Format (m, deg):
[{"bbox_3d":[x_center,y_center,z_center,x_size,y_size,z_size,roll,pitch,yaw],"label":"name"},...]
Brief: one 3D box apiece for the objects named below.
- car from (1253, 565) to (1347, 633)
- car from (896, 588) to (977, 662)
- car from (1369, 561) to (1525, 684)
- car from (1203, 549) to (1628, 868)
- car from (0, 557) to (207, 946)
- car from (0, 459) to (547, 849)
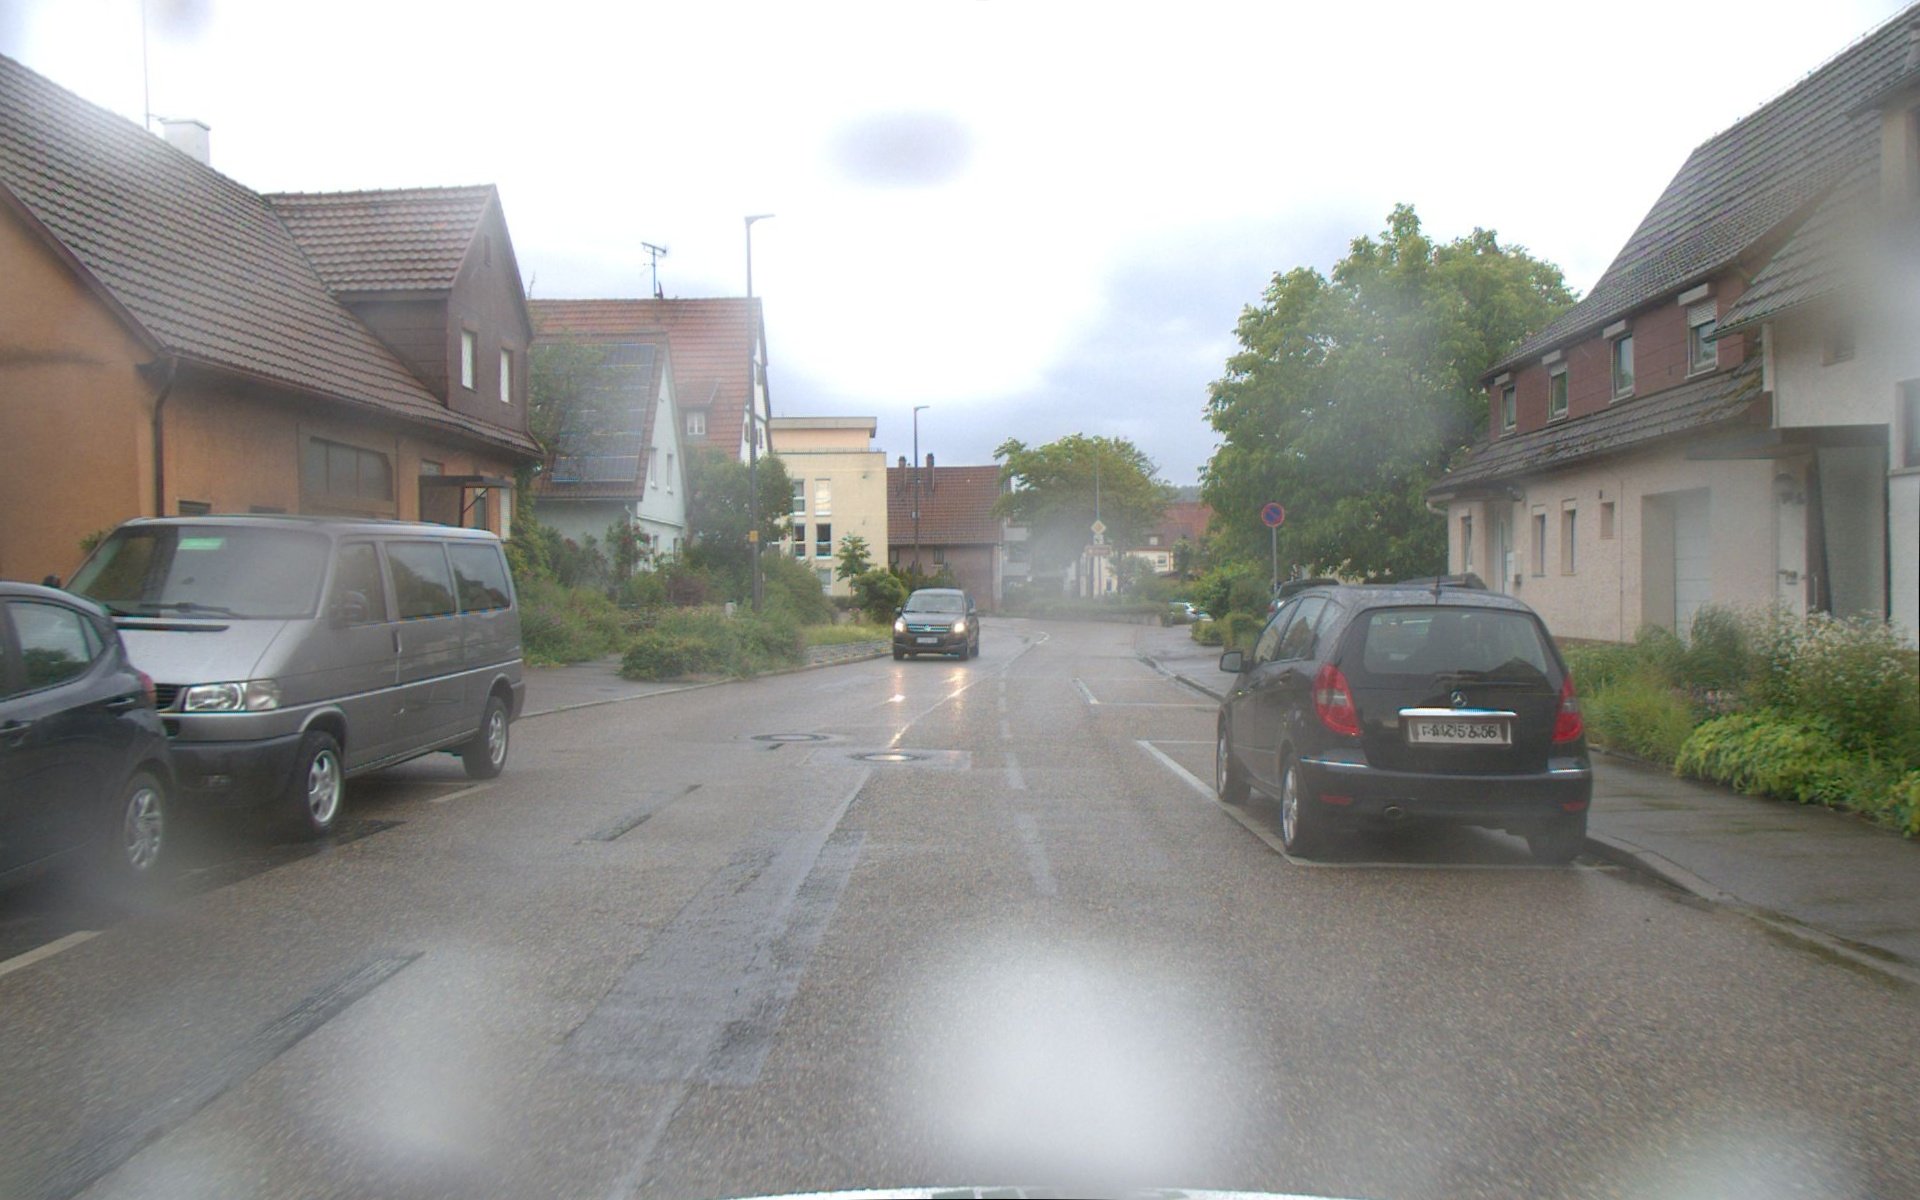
[{"bbox_3d":[7.665,-0.024,37.543,1.603,1.455,3.679,-1,0,4],"label":"car"},{"bbox_3d":[-0.518,0.564,39.527,1.760,1.669,4.001,0,0,1],"label":"car"},{"bbox_3d":[7.100,0.271,23.857,1.723,1.417,4.001,-7,-1,21],"label":"car"},{"bbox_3d":[2.818,0.598,11.167,1.714,1.740,3.999,-1,0,-1],"label":"car"},{"bbox_3d":[-4.545,0.602,6.614,1.547,1.523,3.565,-1,0,-3],"label":"car"},{"bbox_3d":[-4.453,0.286,11.397,1.784,2.049,5.215,-1,0,1],"label":"car"}]
